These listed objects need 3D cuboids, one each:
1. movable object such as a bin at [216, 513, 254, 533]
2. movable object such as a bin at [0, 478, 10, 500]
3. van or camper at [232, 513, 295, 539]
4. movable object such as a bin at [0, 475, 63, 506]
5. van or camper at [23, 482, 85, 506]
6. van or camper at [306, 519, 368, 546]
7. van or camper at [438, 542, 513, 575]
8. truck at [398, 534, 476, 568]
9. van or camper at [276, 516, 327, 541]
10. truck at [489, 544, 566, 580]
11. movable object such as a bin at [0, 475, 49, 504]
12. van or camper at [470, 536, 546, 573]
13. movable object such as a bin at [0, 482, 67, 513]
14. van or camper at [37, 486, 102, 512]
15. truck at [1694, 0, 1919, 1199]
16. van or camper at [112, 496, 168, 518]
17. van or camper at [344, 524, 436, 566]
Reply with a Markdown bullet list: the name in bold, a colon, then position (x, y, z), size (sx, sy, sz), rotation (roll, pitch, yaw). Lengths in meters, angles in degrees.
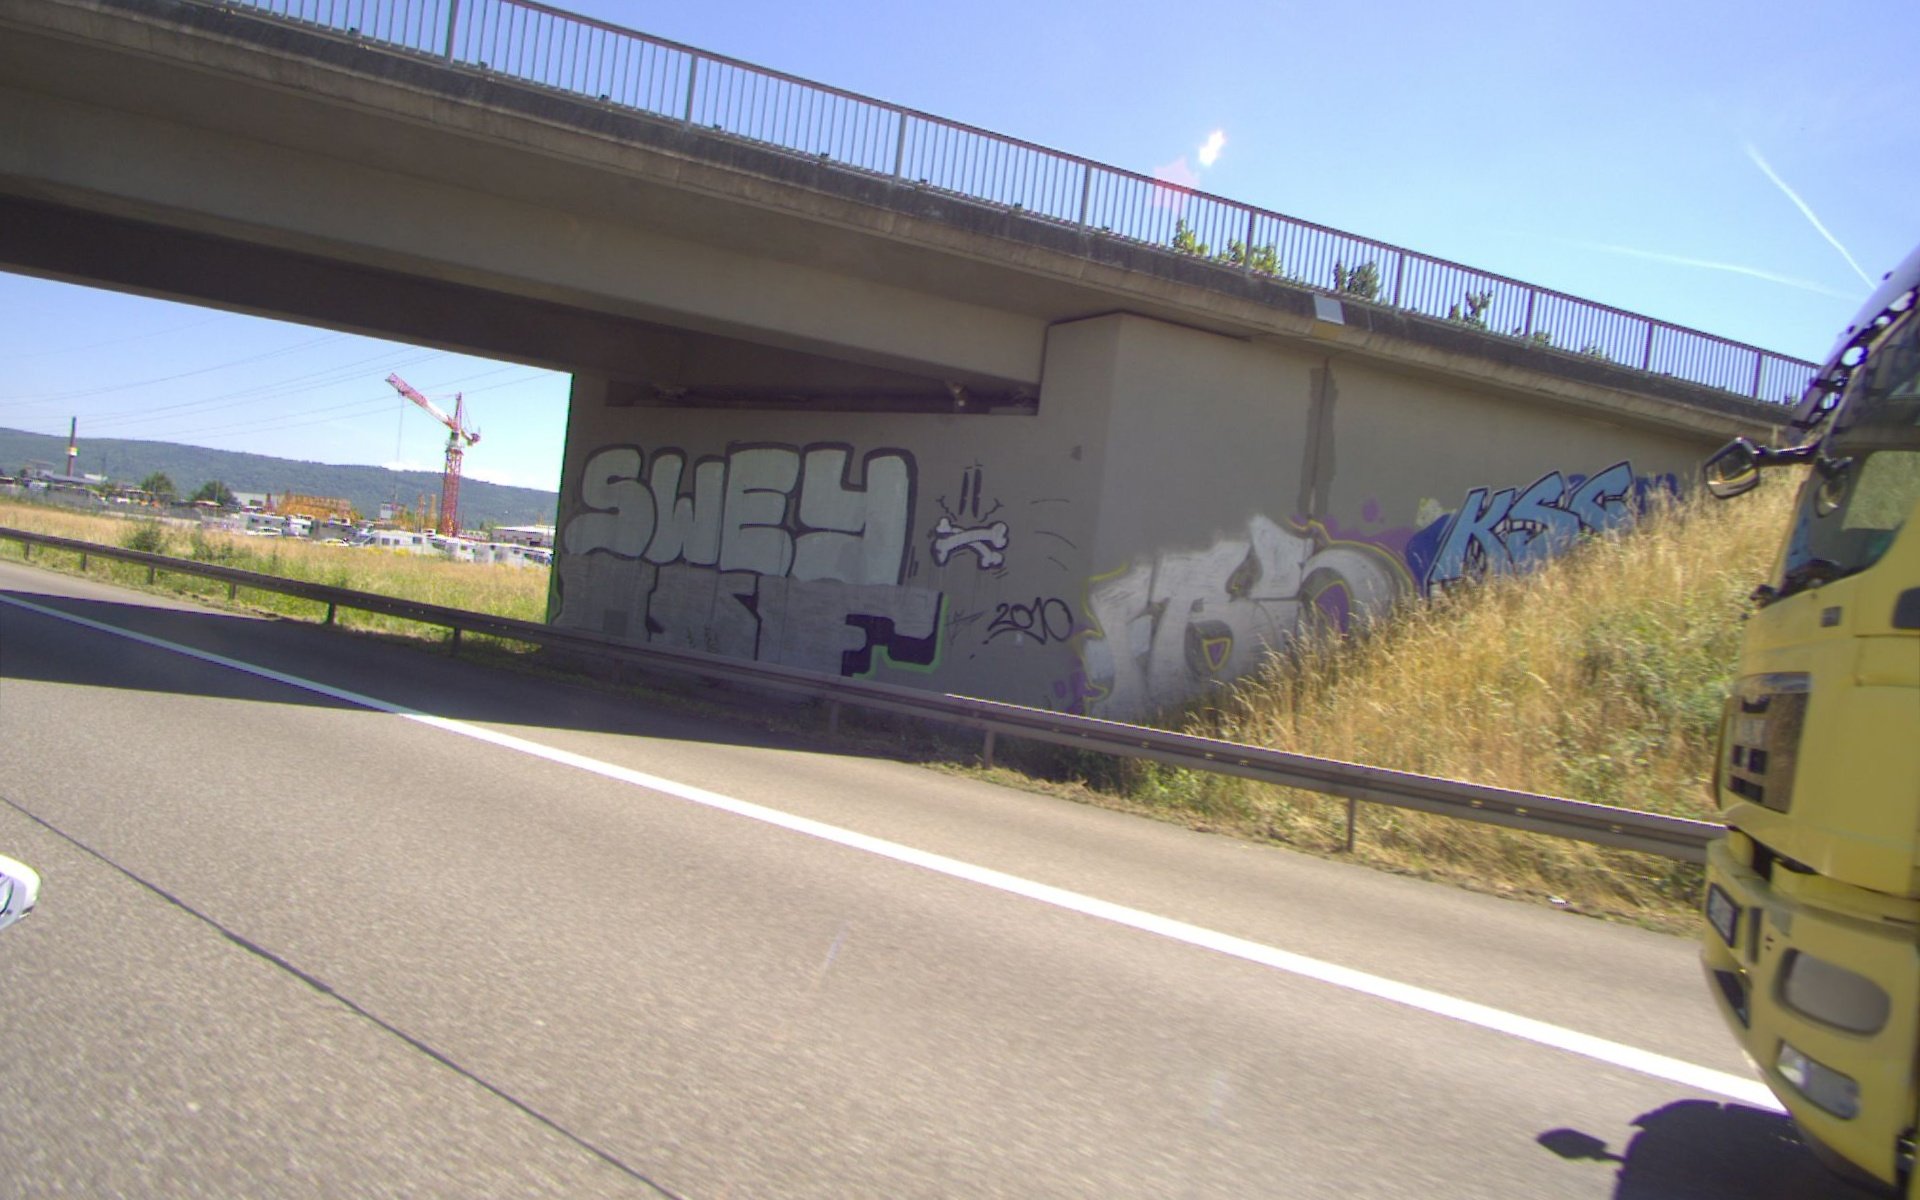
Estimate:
- **movable object such as a bin**: position (-122.244, -12.982, 169.610), size (6.695, 2.587, 2.914), rotation (6, 1, 32)
- **movable object such as a bin**: position (-166.973, -19.323, 168.981), size (2.354, 3.736, 10.260), rotation (6, 1, 31)
- **van or camper**: position (-97.866, -10.324, 141.471), size (3.269, 2.711, 6.359), rotation (7, 0, 31)
- **movable object such as a bin**: position (-146.843, -17.253, 156.998), size (2.932, 3.736, 9.707), rotation (7, 1, 38)
- **van or camper**: position (-130.255, -15.241, 144.670), size (2.560, 2.432, 6.120), rotation (7, 0, 33)
- **van or camper**: position (-83.544, -9.029, 135.009), size (2.381, 2.801, 6.454), rotation (7, 0, 30)
- **van or camper**: position (-56.460, -4.806, 117.519), size (2.558, 2.916, 7.756), rotation (7, -1, 27)
- **truck**: position (-60.520, -5.585, 116.610), size (2.558, 2.916, 7.756), rotation (7, -1, 27)
- **van or camper**: position (-91.669, -9.881, 140.109), size (2.572, 2.711, 5.264), rotation (7, 0, 30)
- **truck**: position (-48.114, -4.187, 112.086), size (2.725, 2.916, 7.756), rotation (7, -1, 27)
- **movable object such as a bin**: position (-151.843, -17.853, 160.118), size (2.928, 3.737, 9.718), rotation (7, 1, 34)
- **van or camper**: position (-51.126, -5.115, 113.918), size (2.627, 3.232, 7.758), rotation (7, -1, 25)
- **movable object such as a bin**: position (-144.203, -15.949, 154.799), size (3.368, 3.736, 9.706), rotation (7, 1, 38)
- **van or camper**: position (-125.149, -14.208, 141.424), size (2.398, 2.584, 6.346), rotation (7, 0, 33)
- **truck**: position (7.224, 0.266, 0.473), size (10.504, 4.248, 2.939), rotation (7, -2, 32)
- **van or camper**: position (-127.731, -14.529, 156.753), size (2.560, 2.432, 6.120), rotation (7, 0, 33)
- **van or camper**: position (-57.756, -5.506, 102.140), size (2.393, 3.138, 7.752), rotation (7, -1, 29)
